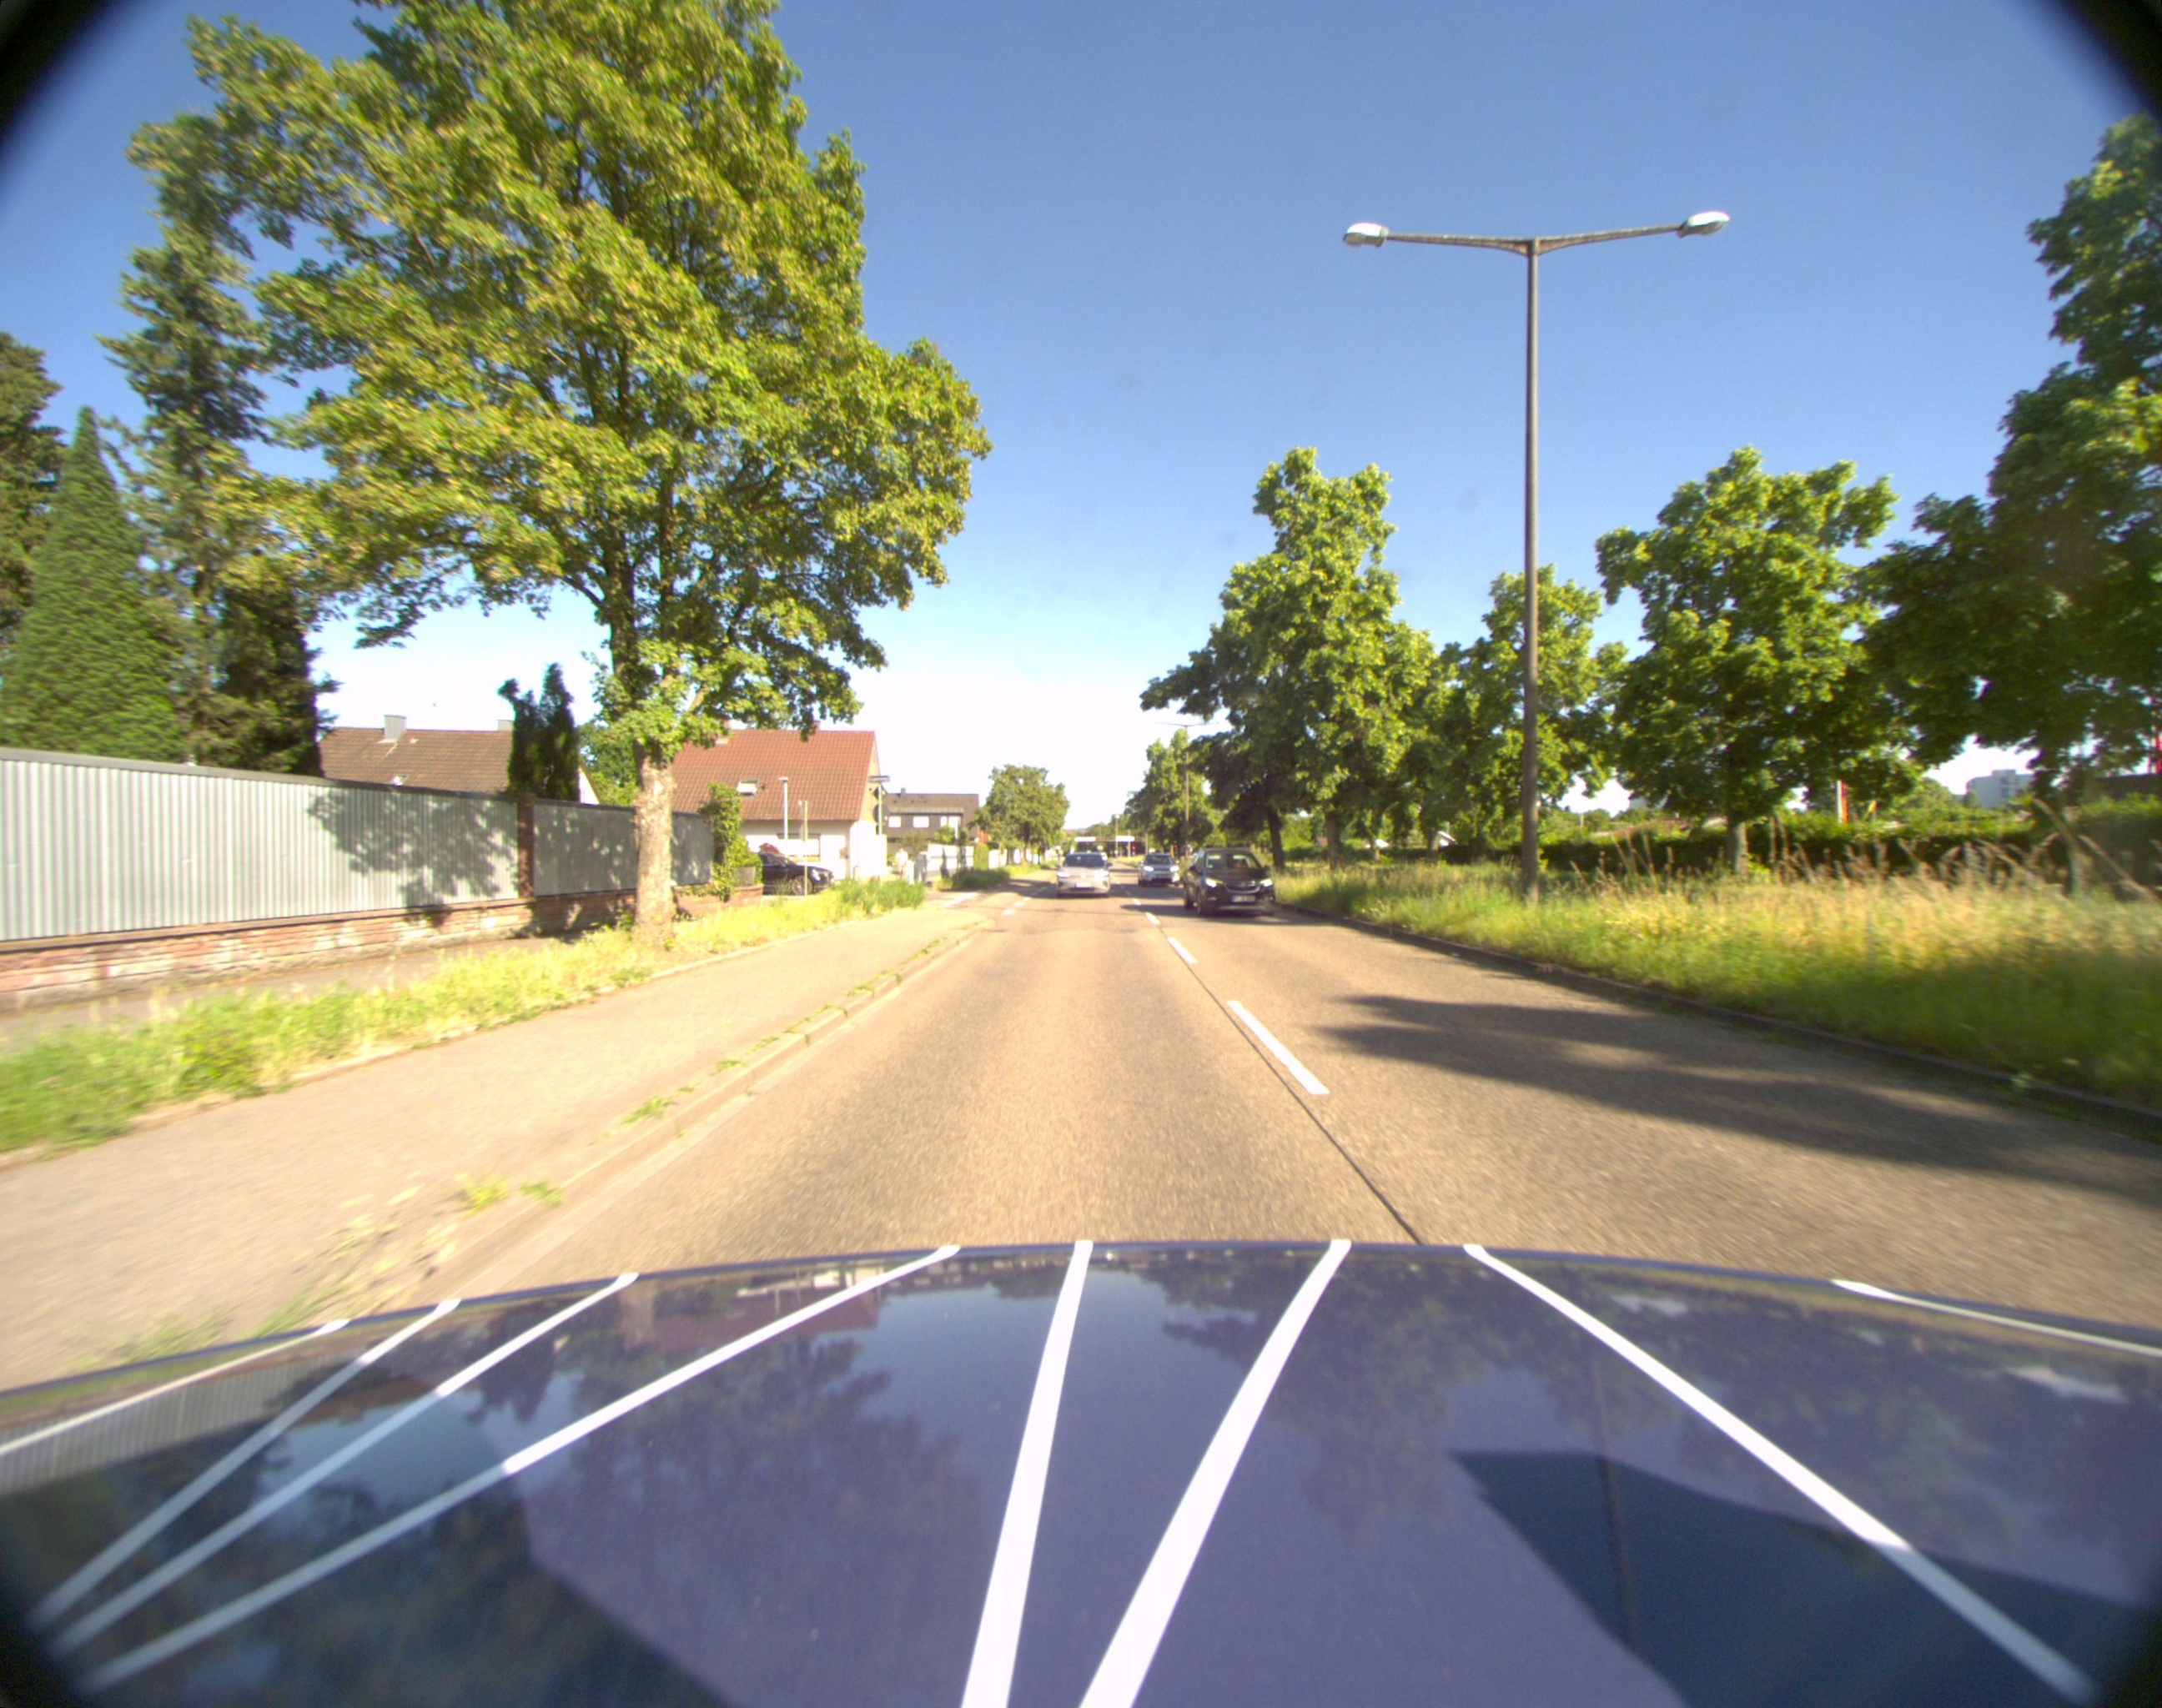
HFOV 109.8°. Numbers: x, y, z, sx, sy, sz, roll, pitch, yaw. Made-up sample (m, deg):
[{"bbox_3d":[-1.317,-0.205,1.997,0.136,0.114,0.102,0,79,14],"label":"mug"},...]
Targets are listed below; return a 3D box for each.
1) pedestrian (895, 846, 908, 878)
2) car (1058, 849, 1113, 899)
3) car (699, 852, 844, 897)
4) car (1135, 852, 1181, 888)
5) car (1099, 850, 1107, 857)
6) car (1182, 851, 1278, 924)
[{"bbox_3d":[-9.676,0.442,41.062,0.630,1.698,0.613,-1,1,-12],"label":"pedestrian"},{"bbox_3d":[0.215,0.663,27.822,1.801,1.665,4.239,-1,1,2],"label":"car"},{"bbox_3d":[-11.806,0.752,29.239,4.756,1.647,2.070,0,0,-5],"label":"car"},{"bbox_3d":[3.690,0.725,37.026,1.830,1.604,4.092,-1,0,0],"label":"car"},{"bbox_3d":[5.267,-0.182,183.646,1.830,1.604,4.092,-1,0,1],"label":"car"},{"bbox_3d":[3.641,0.755,19.150,1.713,1.653,3.856,0,0,1],"label":"car"}]
